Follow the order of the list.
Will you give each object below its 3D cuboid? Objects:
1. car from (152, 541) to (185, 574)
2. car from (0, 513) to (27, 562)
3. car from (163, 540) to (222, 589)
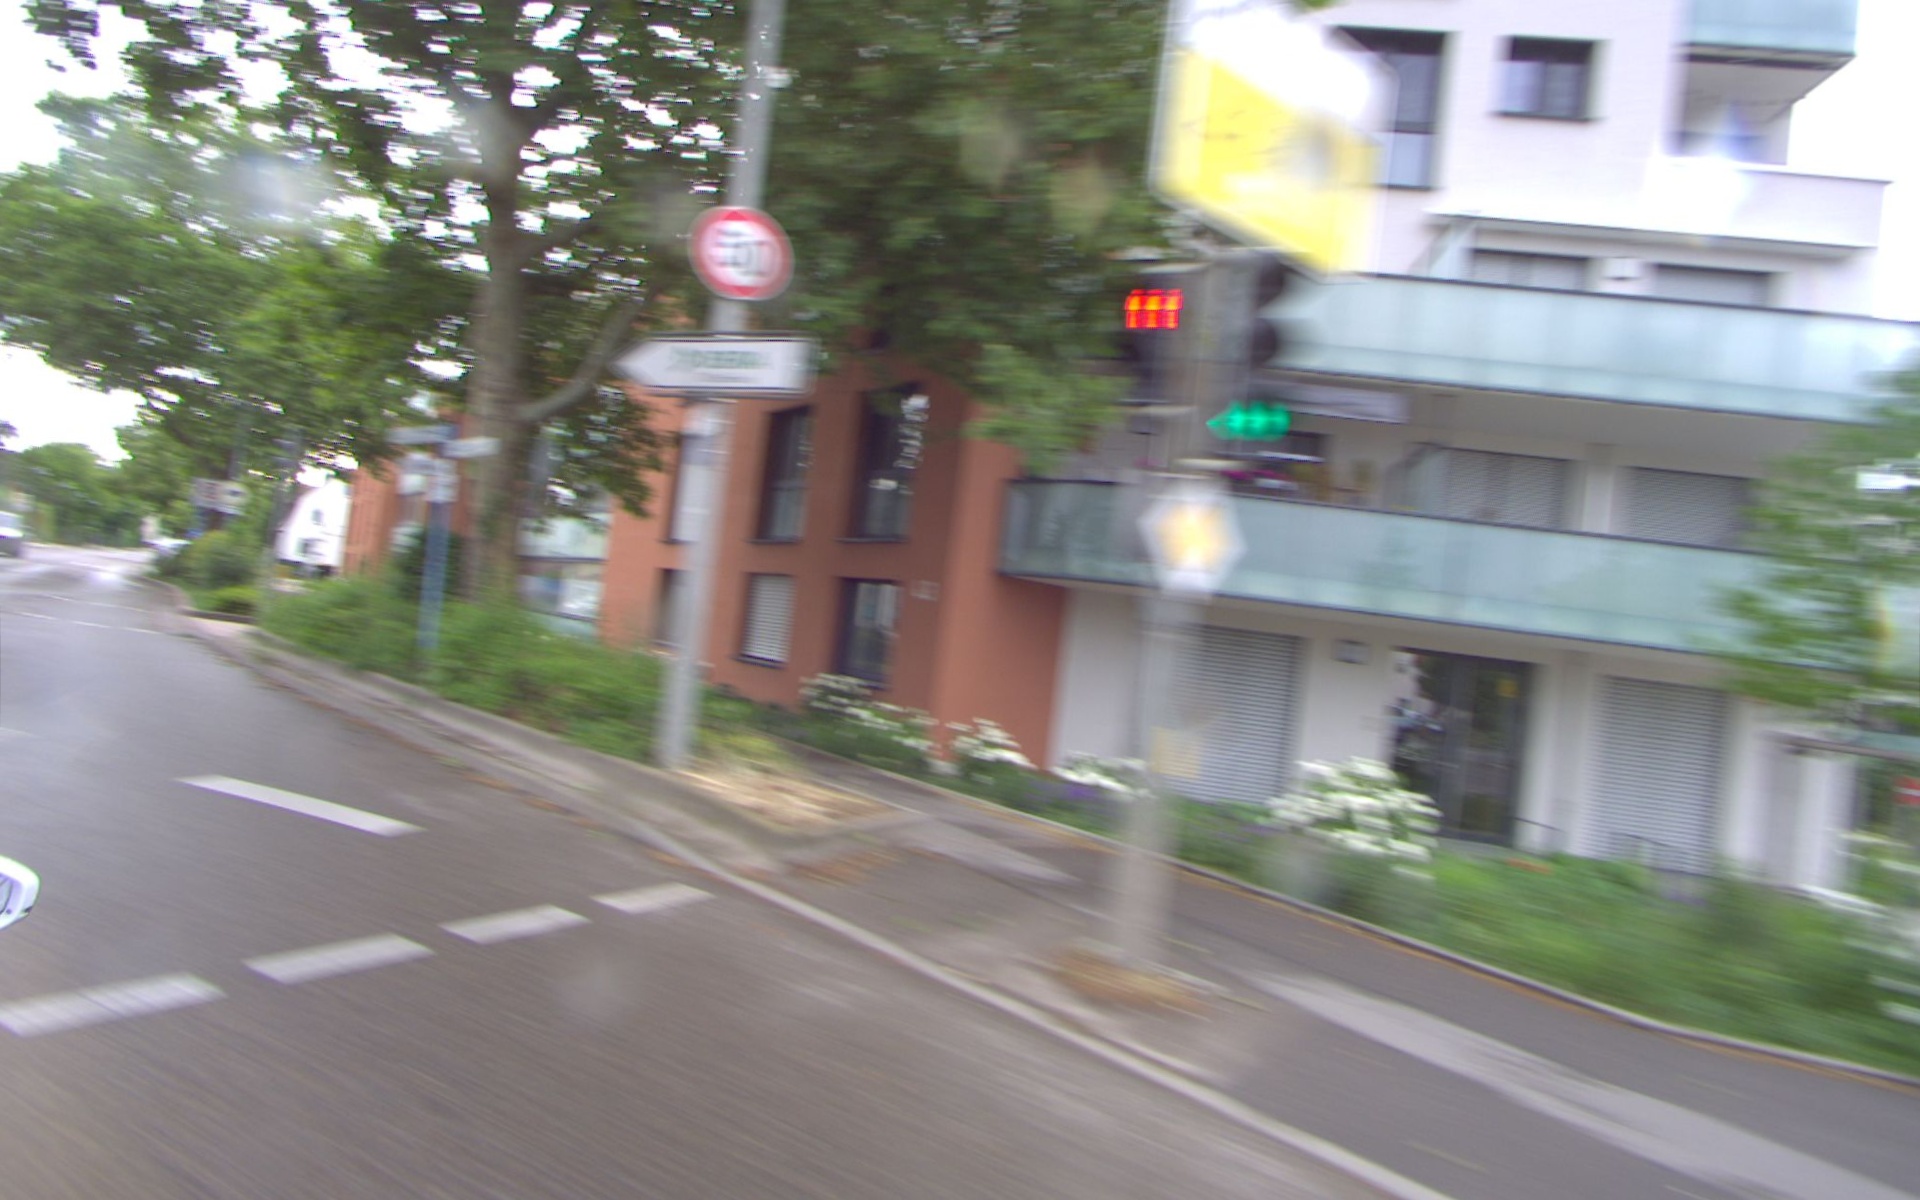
[{"bbox_3d":[-57.010,-3.071,72.456,1.637,2.040,3.675,9,-2,-39],"label":"car"},{"bbox_3d":[-36.333,-2.457,37.556,1.872,1.687,3.672,10,-3,-41],"label":"car"},{"bbox_3d":[-30.414,-1.425,39.832,1.637,1.530,4.102,10,-2,-39],"label":"car"}]
